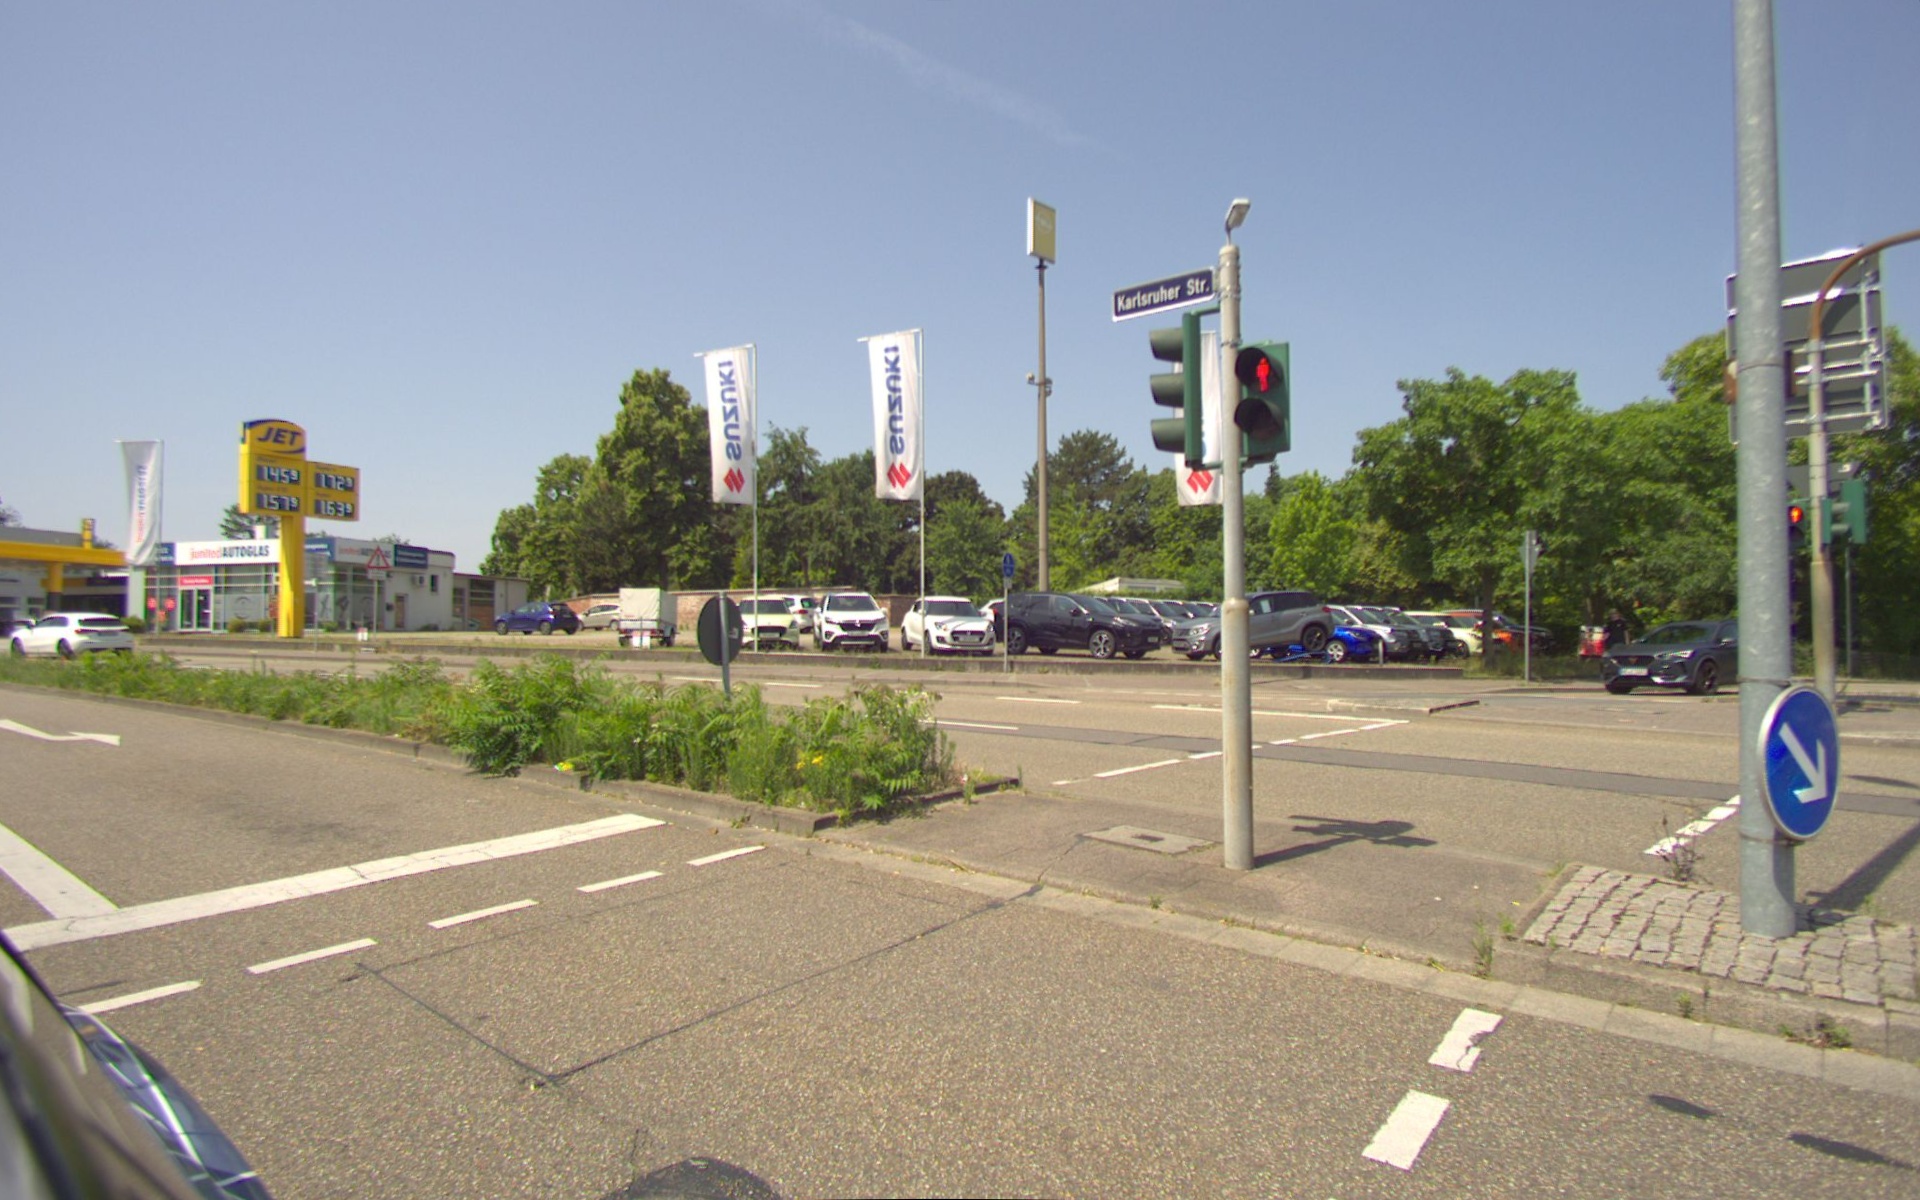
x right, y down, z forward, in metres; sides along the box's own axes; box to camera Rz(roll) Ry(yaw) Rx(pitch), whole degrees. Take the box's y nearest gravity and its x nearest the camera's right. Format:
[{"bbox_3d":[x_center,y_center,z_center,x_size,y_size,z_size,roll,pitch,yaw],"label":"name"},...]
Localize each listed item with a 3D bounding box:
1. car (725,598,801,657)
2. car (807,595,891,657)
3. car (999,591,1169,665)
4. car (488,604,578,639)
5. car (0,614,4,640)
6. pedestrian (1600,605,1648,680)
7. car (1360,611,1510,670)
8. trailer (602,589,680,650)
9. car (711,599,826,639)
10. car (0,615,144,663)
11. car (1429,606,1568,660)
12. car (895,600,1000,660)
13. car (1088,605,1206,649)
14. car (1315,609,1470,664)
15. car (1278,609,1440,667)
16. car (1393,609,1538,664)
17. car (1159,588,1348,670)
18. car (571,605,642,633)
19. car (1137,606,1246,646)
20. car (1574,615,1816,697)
[{"bbox_3d":[-5.543,0.714,28.159,1.728,1.521,3.831,0,0,-16],"label":"car"},{"bbox_3d":[-3.062,0.645,27.354,1.887,1.552,3.972,0,0,-11],"label":"car"},{"bbox_3d":[3.162,0.669,26.147,4.010,1.737,1.822,1,0,39],"label":"car"},{"bbox_3d":[-19.329,0.969,45.847,3.605,1.517,1.682,0,-1,21],"label":"car"},{"bbox_3d":[-58.963,1.600,59.993,4.181,1.554,1.646,0,0,20],"label":"car"},{"bbox_3d":[17.092,1.081,26.065,0.977,1.885,0.807,0,0,31],"label":"pedestrian"},{"bbox_3d":[15.031,1.222,32.113,3.997,1.720,1.882,0,0,40],"label":"car"},{"bbox_3d":[-9.265,0.558,29.578,1.668,1.717,2.437,0,-1,-4],"label":"trailer"},{"bbox_3d":[-8.302,0.828,43.830,4.720,1.662,1.684,0,-1,19],"label":"car"},{"bbox_3d":[-28.254,1.264,32.125,4.240,1.436,1.859,-2,-3,23],"label":"car"},{"bbox_3d":[18.755,1.102,35.319,3.997,1.763,1.973,0,0,40],"label":"car"},{"bbox_3d":[-0.418,0.740,26.519,1.687,1.443,3.974,1,0,-17],"label":"car"},{"bbox_3d":[6.999,0.974,38.072,3.997,1.548,1.772,0,0,40],"label":"car"},{"bbox_3d":[13.114,1.077,30.789,3.996,1.582,1.817,0,-2,39],"label":"car"},{"bbox_3d":[11.441,1.036,29.115,3.997,1.548,1.772,0,0,40],"label":"car"},{"bbox_3d":[16.797,1.161,33.708,3.997,1.696,1.844,0,0,40],"label":"car"},{"bbox_3d":[7.436,0.740,25.775,4.237,1.916,1.834,2,-1,-14],"label":"car"},{"bbox_3d":[-19.877,1.049,56.924,3.605,1.517,1.609,0,-1,21],"label":"car"},{"bbox_3d":[9.470,1.010,41.498,3.997,1.548,1.772,0,0,40],"label":"car"},{"bbox_3d":[14.786,1.159,20.376,4.364,1.497,2.010,2,-4,-24],"label":"car"}]
